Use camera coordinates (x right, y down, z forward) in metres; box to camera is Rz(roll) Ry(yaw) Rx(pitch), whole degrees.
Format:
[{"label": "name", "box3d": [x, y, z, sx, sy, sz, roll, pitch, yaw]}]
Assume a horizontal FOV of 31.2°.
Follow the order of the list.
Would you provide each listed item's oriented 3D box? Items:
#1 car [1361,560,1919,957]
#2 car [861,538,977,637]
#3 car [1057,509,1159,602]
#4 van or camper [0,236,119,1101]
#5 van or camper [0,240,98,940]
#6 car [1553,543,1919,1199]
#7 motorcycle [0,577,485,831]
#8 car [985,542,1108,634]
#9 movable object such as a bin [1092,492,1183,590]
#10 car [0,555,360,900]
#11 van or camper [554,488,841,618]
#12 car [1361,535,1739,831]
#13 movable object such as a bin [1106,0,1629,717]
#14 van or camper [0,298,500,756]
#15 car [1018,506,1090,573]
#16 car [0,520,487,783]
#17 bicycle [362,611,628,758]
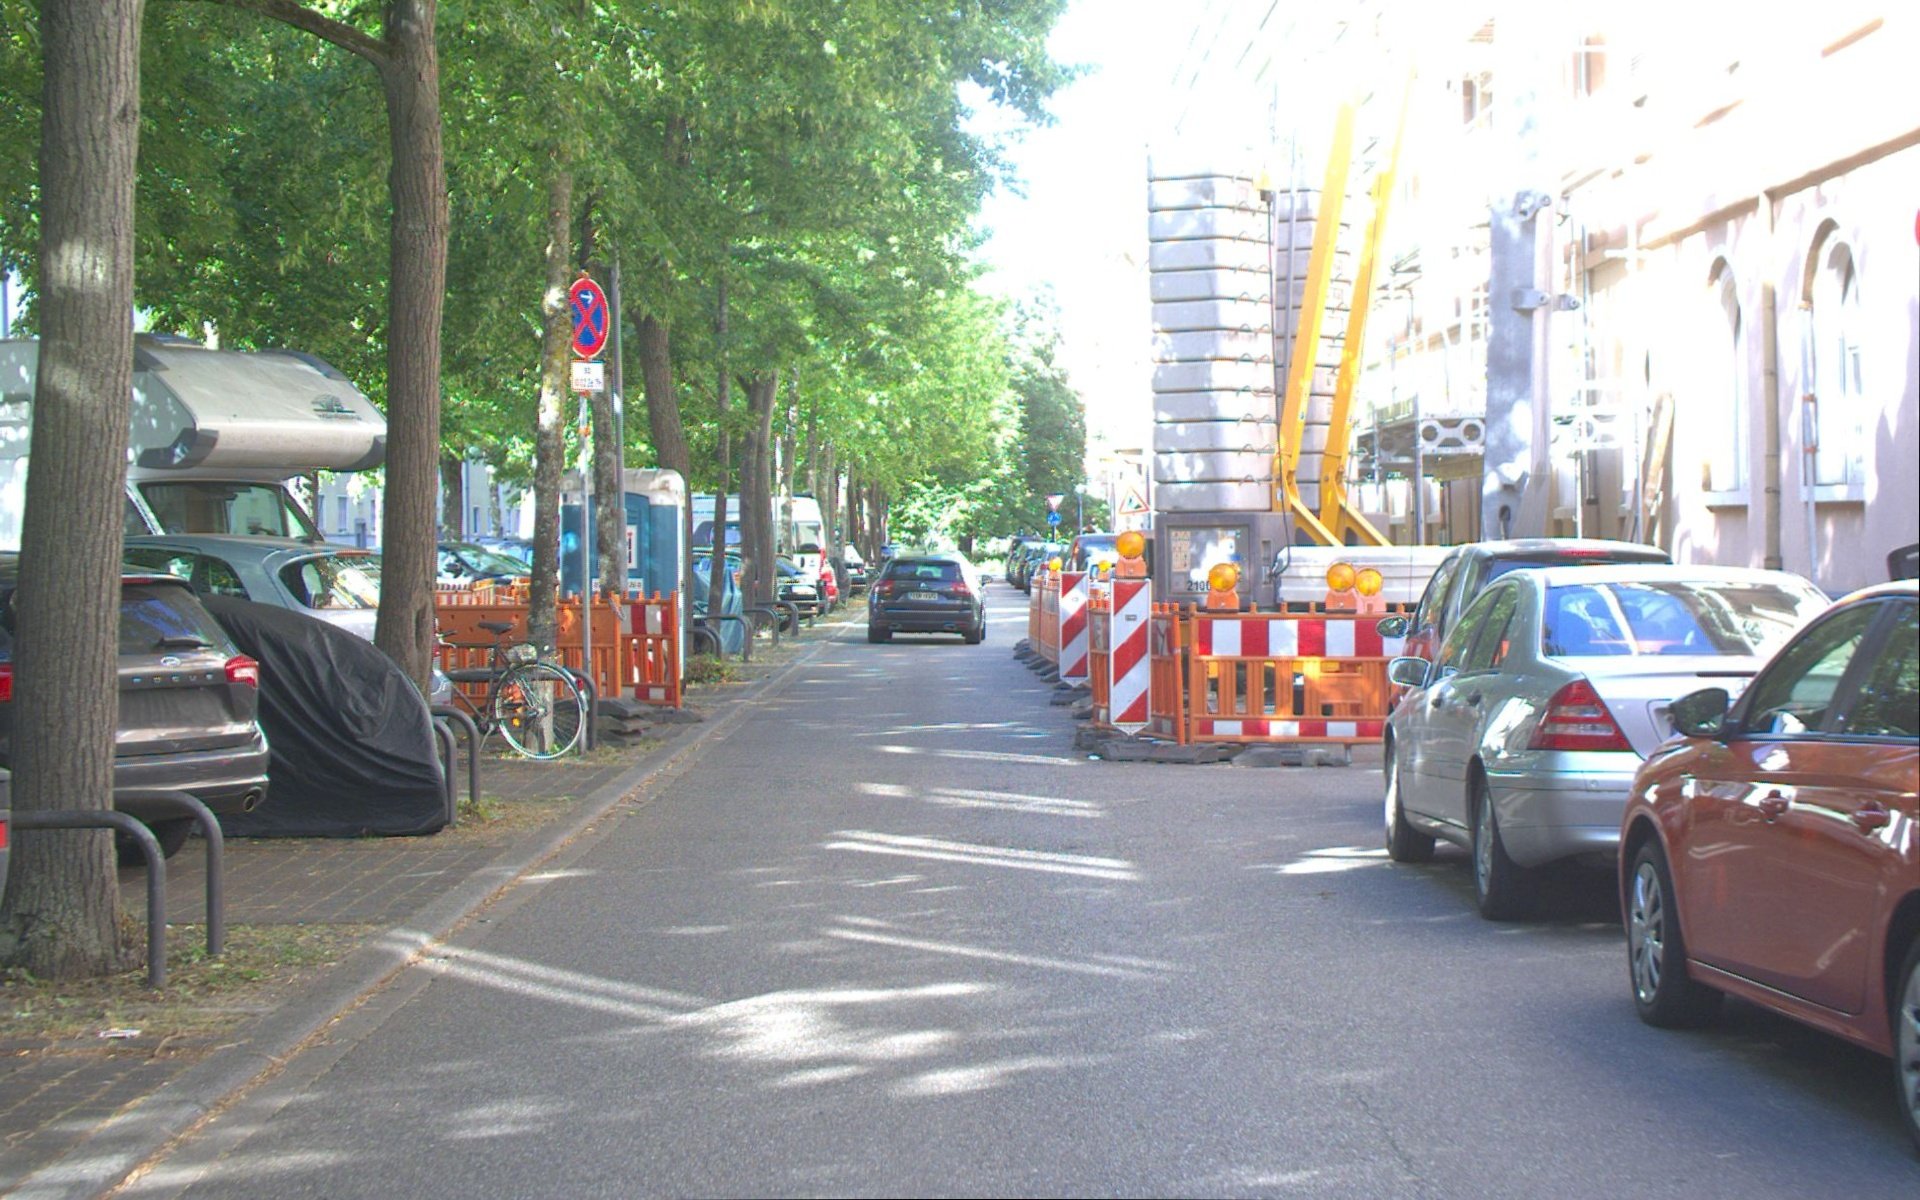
[{"label": "car", "box3d": [3.041, 0.556, 14.908, 1.993, 1.404, 4.501, 0, 1, -1]}, {"label": "car", "box3d": [-0.685, -0.235, 55.908, 1.797, 1.498, 3.586, -1, 1, -1]}, {"label": "car", "box3d": [2.974, -0.917, 69.491, 1.797, 1.794, 3.586, -1, 1, -1]}, {"label": "van or camper", "box3d": [-5.300, 0.229, 9.542, 5.505, 2.267, 2.218, -1, 1, 24]}, {"label": "van or camper", "box3d": [-6.485, 0.004, 13.795, 5.877, 2.628, 2.251, -1, 1, 30]}, {"label": "car", "box3d": [3.012, 0.617, 9.424, 1.790, 1.518, 3.965, -1, 1, -5]}, {"label": "motorcycle", "box3d": [-3.796, 0.529, 17.688, 2.550, 1.254, 0.762, -1, 1, 8]}, {"label": "car", "box3d": [1.372, -0.221, 55.576, 1.797, 1.380, 3.586, -1, 1, -1]}, {"label": "movable object such as a bin", "box3d": [4.216, -1.419, 82.091, 1.797, 2.225, 4.607, -1, 1, -1]}, {"label": "car", "box3d": [-4.955, 0.527, 15.974, 3.959, 1.409, 1.820, 0, 1, 27]}, {"label": "van or camper", "box3d": [-5.247, -0.927, 68.566, 5.342, 2.466, 2.290, 0, 1, 32]}, {"label": "car", "box3d": [3.246, 0.407, 19.338, 1.591, 1.525, 2.781, 0, 1, -1]}, {"label": "movable object such as a bin", "box3d": [3.282, -2.517, 27.646, 3.485, 6.736, 2.364, 0, 1, 32]}, {"label": "van or camper", "box3d": [-7.088, -0.521, 26.898, 6.666, 3.229, 2.492, -1, 1, 29]}, {"label": "car", "box3d": [2.613, -1.701, 95.810, 1.797, 1.794, 3.586, -1, 1, -1]}, {"label": "car", "box3d": [-5.340, 0.310, 22.937, 3.958, 1.623, 1.820, 0, 1, 26]}, {"label": "bicycle", "box3d": [-3.277, 0.585, 24.177, 1.899, 1.003, 0.430, 0, 1, 24]}]
